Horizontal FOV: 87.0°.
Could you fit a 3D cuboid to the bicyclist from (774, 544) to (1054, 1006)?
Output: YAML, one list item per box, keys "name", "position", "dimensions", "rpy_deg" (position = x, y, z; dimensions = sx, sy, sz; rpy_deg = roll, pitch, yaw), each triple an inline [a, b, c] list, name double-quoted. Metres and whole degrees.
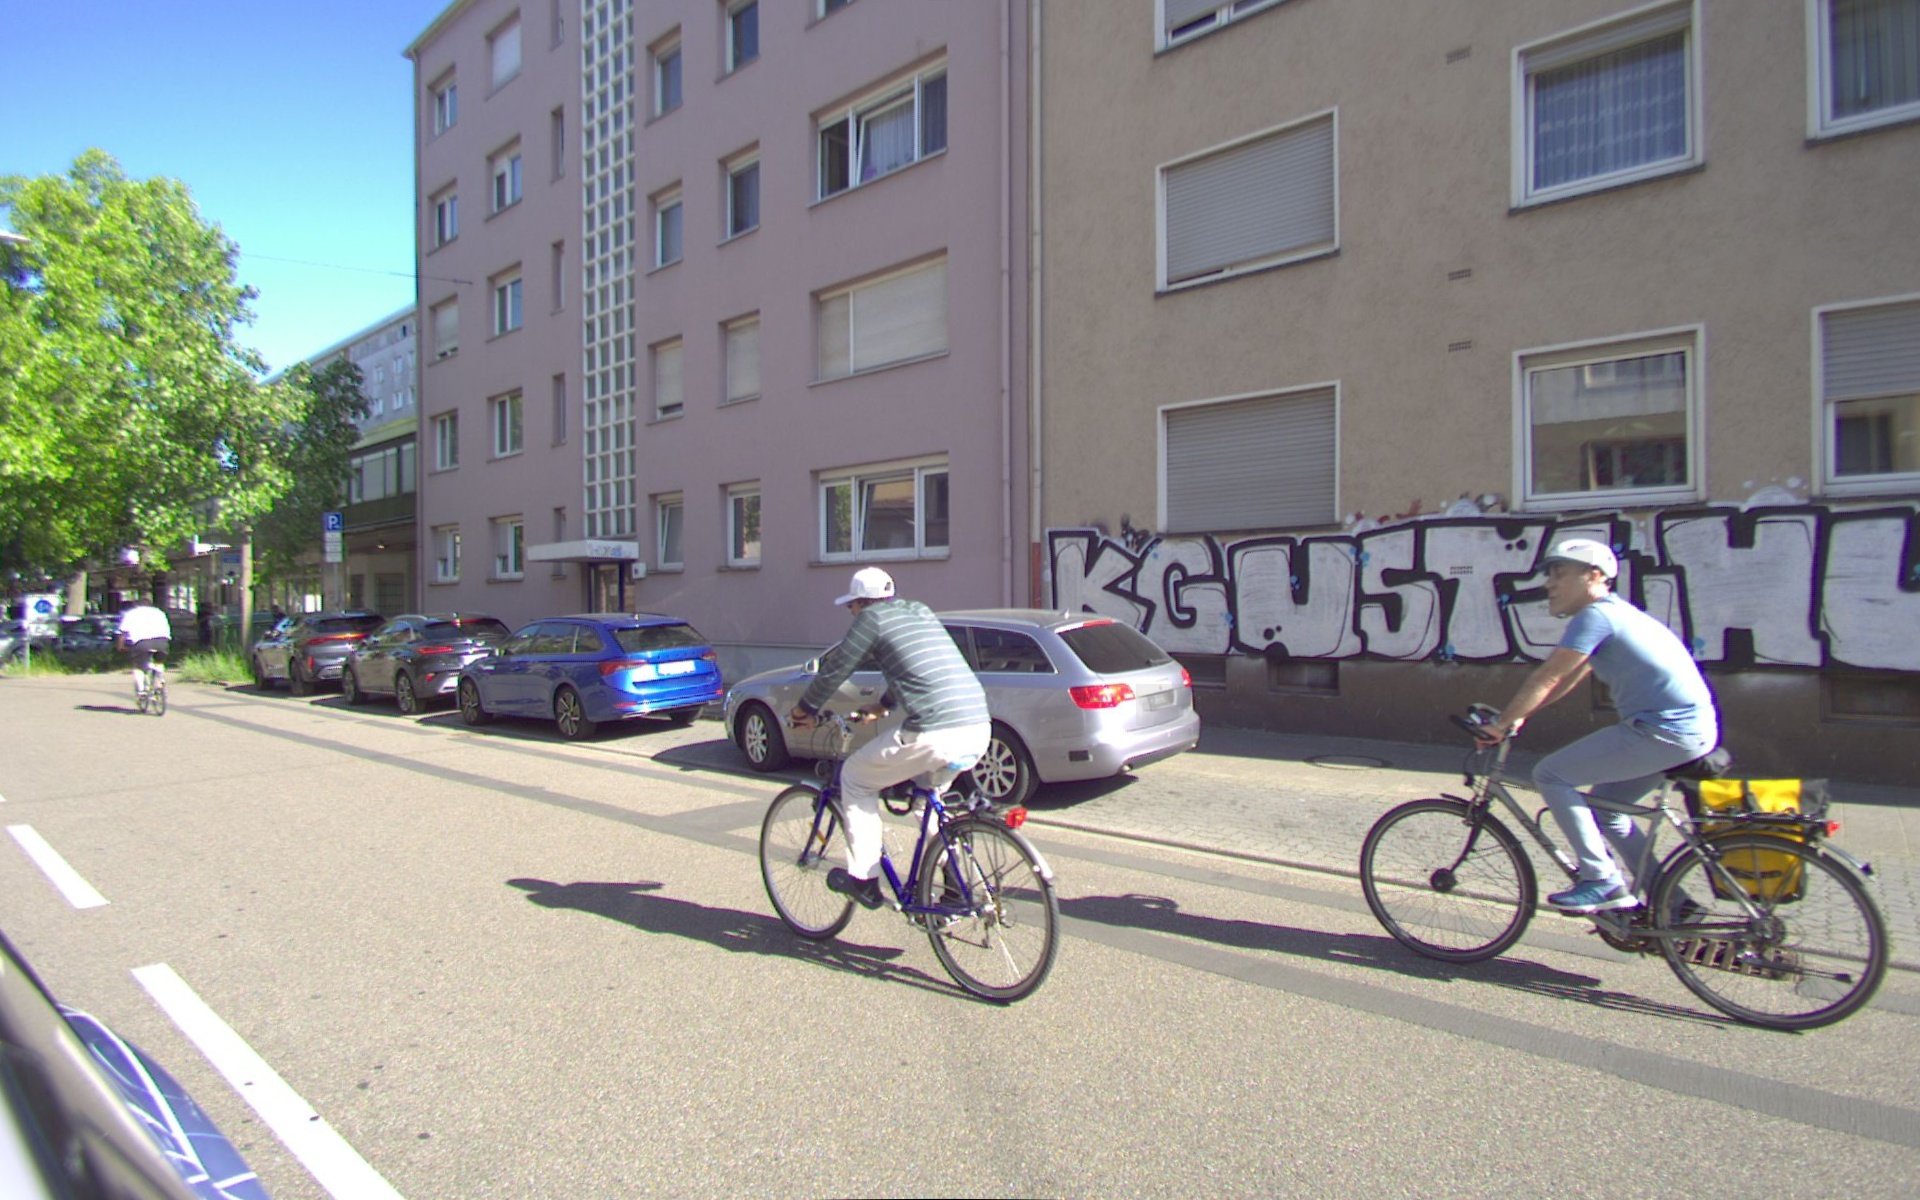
- name: "bicyclist"
  position: [-0.187, 0.617, 4.053]
  dimensions: [0.898, 1.588, 0.672]
  rpy_deg: [-1, -3, 41]

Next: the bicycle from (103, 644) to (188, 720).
- name: "bicycle"
  position: [-12.699, 1.243, 15.757]
  dimensions: [1.871, 1.072, 0.709]
  rpy_deg: [-1, -1, 41]

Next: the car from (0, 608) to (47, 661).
- name: "car"
  position: [-38.839, 1.374, 40.074]
  dimensions: [1.913, 2.058, 3.824]
  rpy_deg: [-1, -1, 43]

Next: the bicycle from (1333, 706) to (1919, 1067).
- name: "bicycle"
  position: [2.515, 0.957, 3.875]
  dimensions: [1.933, 0.959, 0.672]
  rpy_deg: [-1, -3, 41]

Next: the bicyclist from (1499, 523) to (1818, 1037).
- name: "bicyclist"
  position: [2.614, 0.589, 3.802]
  dimensions: [0.898, 1.643, 0.672]
  rpy_deg: [-1, -3, 41]

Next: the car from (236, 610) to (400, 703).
- name: "car"
  position: [-12.879, 1.059, 20.199]
  dimensions: [4.157, 1.588, 1.704]
  rpy_deg: [-1, 1, 43]

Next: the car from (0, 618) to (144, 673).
- name: "car"
  position: [-27.753, 1.356, 31.102]
  dimensions: [1.913, 1.564, 3.943]
  rpy_deg: [-1, -1, 43]

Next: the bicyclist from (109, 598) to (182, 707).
- name: "bicyclist"
  position: [-12.689, 0.801, 15.765]
  dimensions: [0.945, 1.632, 0.709]
  rpy_deg: [-1, -1, 41]

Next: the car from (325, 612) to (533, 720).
- name: "car"
  position: [-8.816, 0.991, 16.649]
  dimensions: [4.157, 1.478, 1.704]
  rpy_deg: [-1, 1, 43]

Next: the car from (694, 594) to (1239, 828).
- name: "car"
  position: [-0.168, 0.779, 9.031]
  dimensions: [4.797, 1.514, 1.805]
  rpy_deg: [-1, 1, 40]

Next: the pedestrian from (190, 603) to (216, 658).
- name: "pedestrian"
  position: [-25.296, 1.007, 33.809]
  dimensions: [0.502, 1.820, 0.615]
  rpy_deg: [-1, -1, 42]

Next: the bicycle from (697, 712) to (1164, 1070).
- name: "bicycle"
  position: [-0.205, 1.005, 4.054]
  dimensions: [1.933, 0.959, 0.672]
  rpy_deg: [-1, -3, 41]

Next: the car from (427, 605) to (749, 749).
- name: "car"
  position: [-5.034, 0.888, 13.345]
  dimensions: [4.797, 1.514, 1.805]
  rpy_deg: [-1, 1, 40]

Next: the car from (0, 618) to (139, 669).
- name: "car"
  position: [-29.921, 1.402, 33.590]
  dimensions: [1.913, 1.564, 3.943]
  rpy_deg: [-1, -1, 43]
